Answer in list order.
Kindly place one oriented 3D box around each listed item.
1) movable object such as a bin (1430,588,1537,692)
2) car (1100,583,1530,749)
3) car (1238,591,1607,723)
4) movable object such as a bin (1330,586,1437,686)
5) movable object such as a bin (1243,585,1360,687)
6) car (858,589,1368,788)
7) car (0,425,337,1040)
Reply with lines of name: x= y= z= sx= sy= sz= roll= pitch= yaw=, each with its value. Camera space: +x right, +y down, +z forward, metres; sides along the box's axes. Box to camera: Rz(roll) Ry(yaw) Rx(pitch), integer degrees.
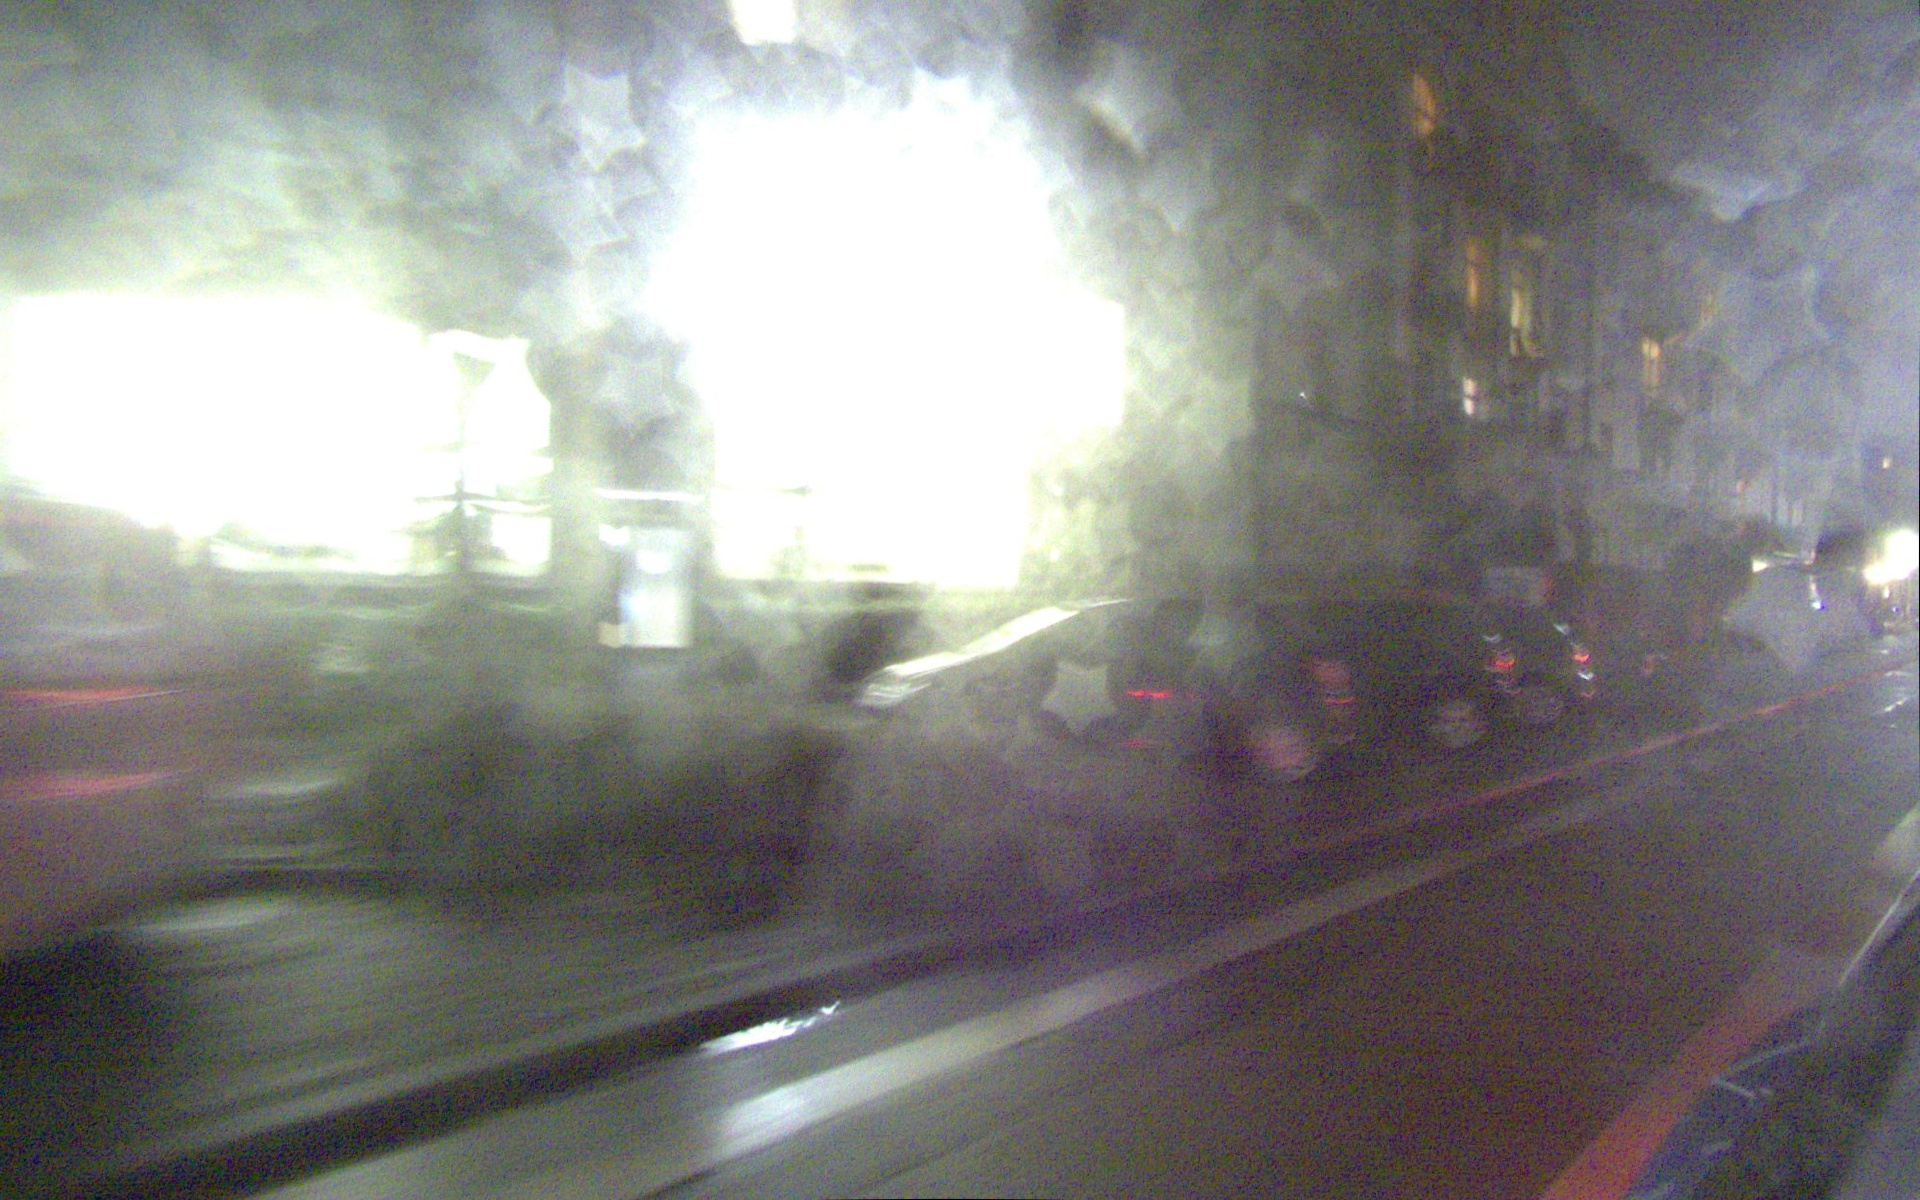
movable object such as a bin: x=7.683 y=0.551 z=14.851 sx=1.341 sy=1.424 sz=1.016 roll=1 pitch=1 yaw=30
car: x=3.456 y=0.603 z=10.451 sx=3.784 sy=1.507 sz=1.807 roll=1 pitch=1 yaw=2
car: x=5.479 y=0.656 z=12.435 sx=3.726 sy=1.476 sz=1.766 roll=-1 pitch=0 yaw=8
movable object such as a bin: x=6.546 y=0.516 z=15.638 sx=1.400 sy=1.424 sz=1.016 roll=2 pitch=1 yaw=30
movable object such as a bin: x=5.118 y=0.510 z=15.175 sx=1.390 sy=1.424 sz=1.027 roll=0 pitch=1 yaw=-35
car: x=1.163 y=0.667 z=8.388 sx=3.767 sy=1.457 sz=1.598 roll=-1 pitch=0 yaw=5
car: x=-4.889 y=0.423 z=3.766 sx=4.104 sy=1.863 sz=1.958 roll=-1 pitch=-1 yaw=9
